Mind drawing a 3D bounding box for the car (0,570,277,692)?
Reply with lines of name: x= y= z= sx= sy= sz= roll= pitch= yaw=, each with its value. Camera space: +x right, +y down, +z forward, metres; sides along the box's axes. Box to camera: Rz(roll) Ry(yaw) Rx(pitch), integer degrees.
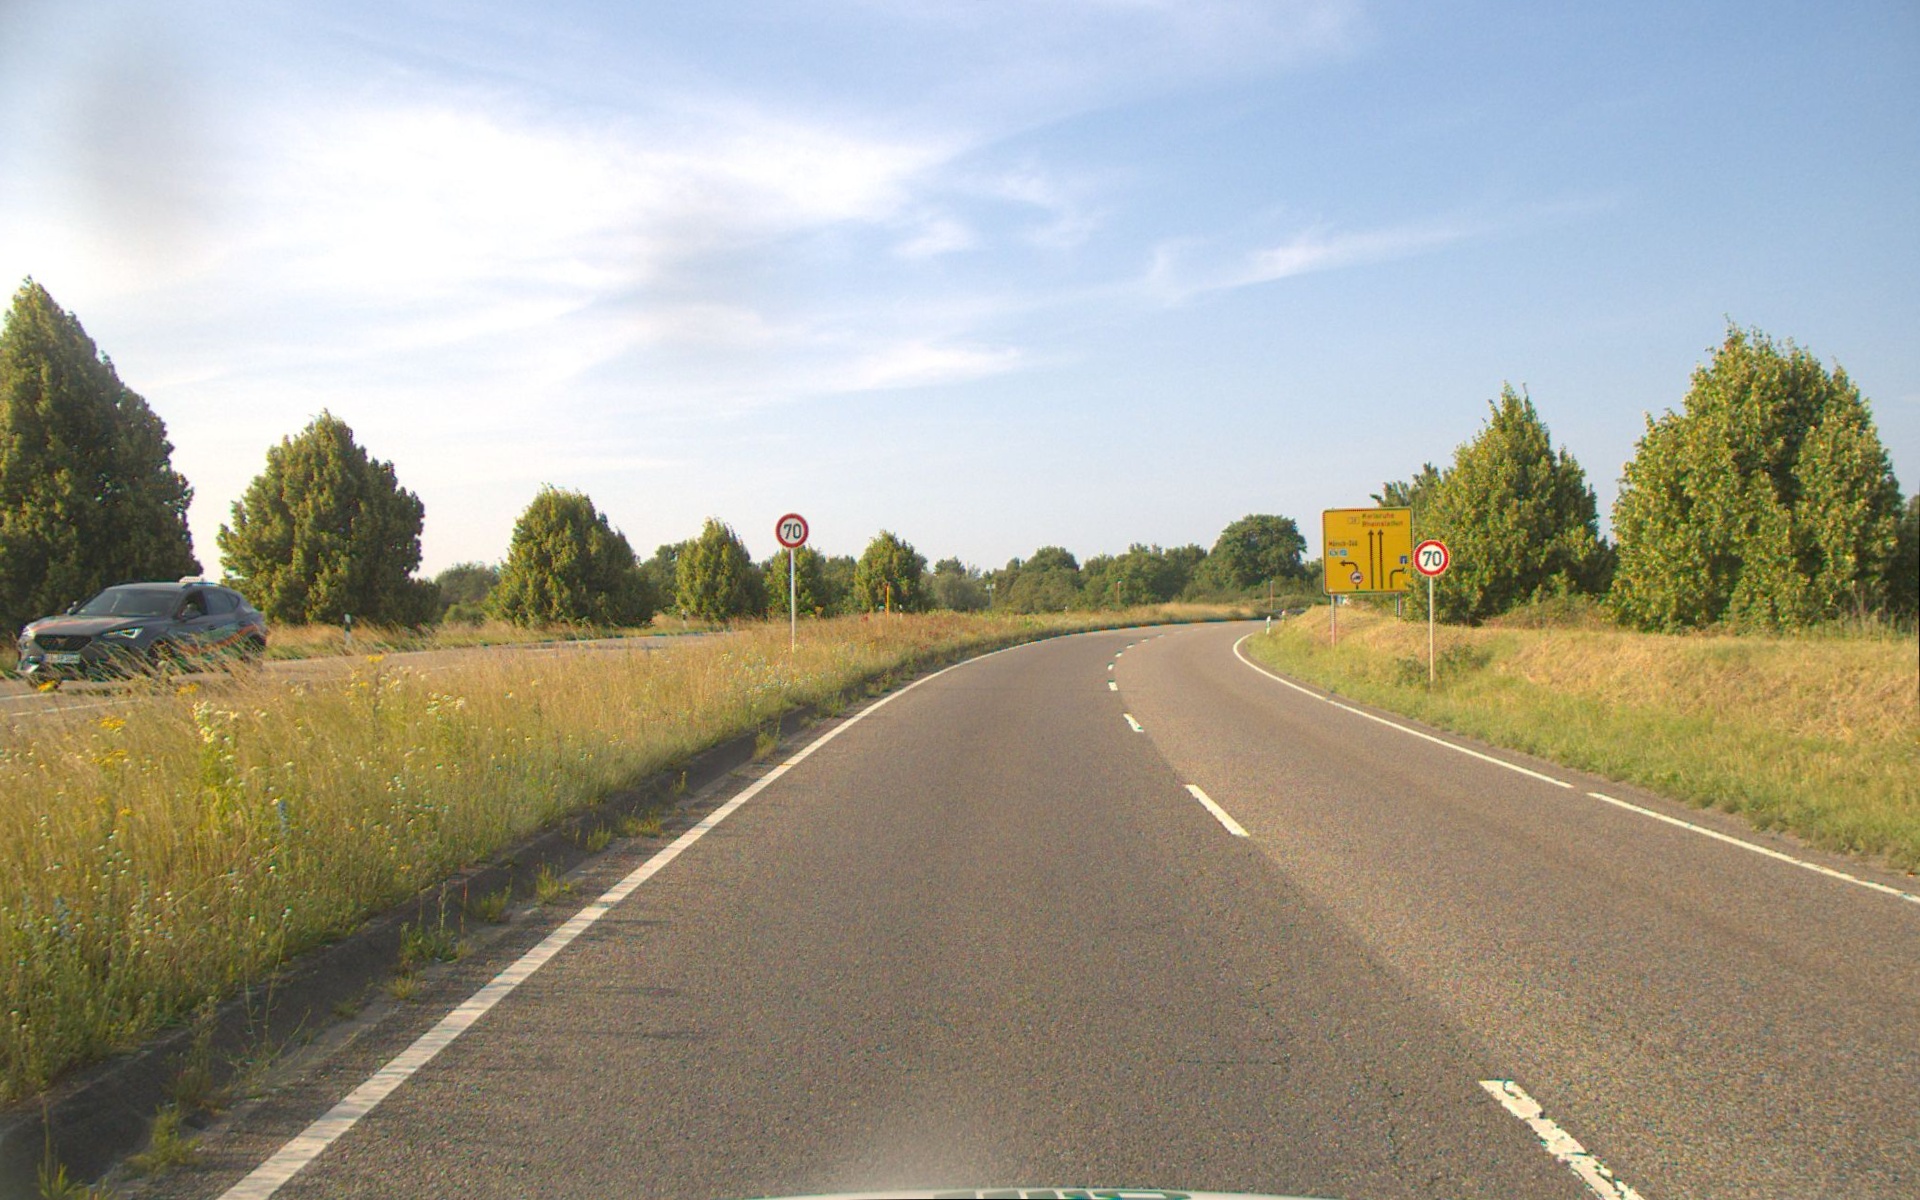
car: x=-11.865 y=0.395 z=23.886 sx=1.872 sy=1.592 sz=4.612 roll=0 pitch=0 yaw=3
